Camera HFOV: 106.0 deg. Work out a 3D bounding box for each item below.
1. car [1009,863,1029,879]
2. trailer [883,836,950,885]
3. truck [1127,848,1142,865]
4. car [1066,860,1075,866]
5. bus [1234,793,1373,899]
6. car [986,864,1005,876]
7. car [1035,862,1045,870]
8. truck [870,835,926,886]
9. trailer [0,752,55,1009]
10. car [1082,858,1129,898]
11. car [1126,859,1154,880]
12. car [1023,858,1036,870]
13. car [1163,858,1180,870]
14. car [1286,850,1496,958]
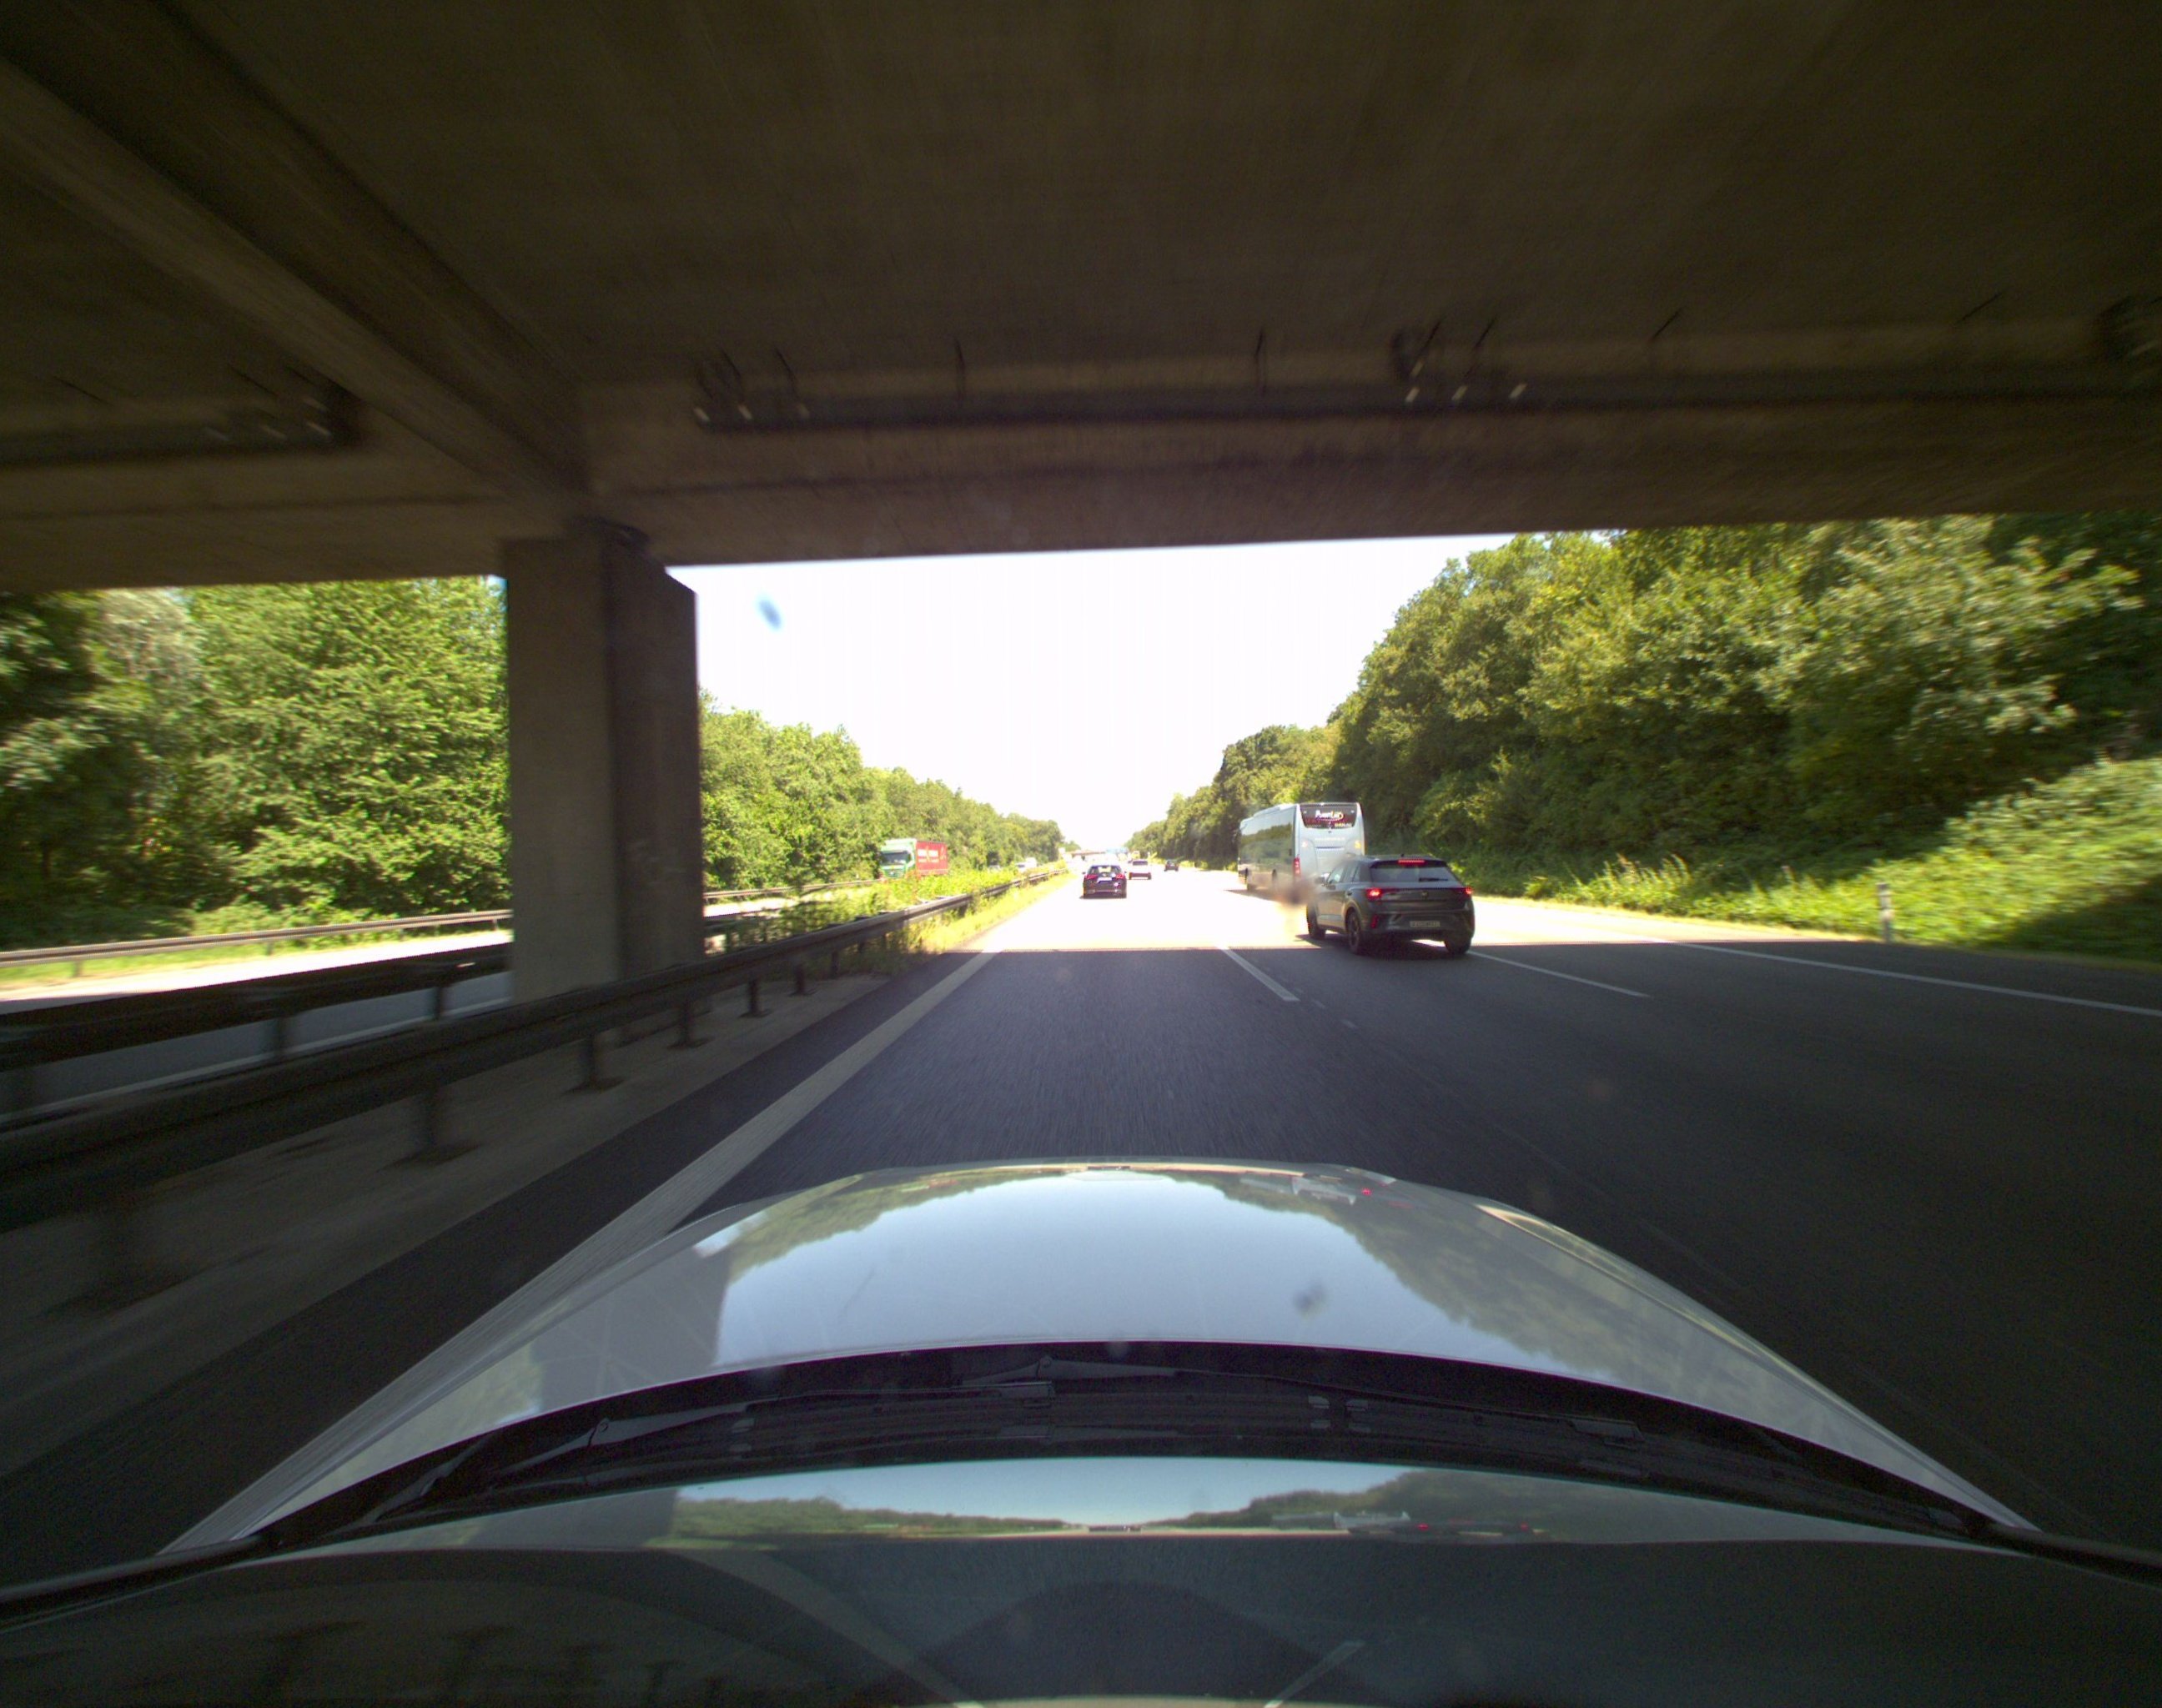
[{"bbox_3d":[-6.248,1.679,82.215,1.663,1.512,4.518,-2,0,0],"label":"car"},{"bbox_3d":[-15.168,0.604,76.264,3.205,4.059,12.745,-2,-1,1],"label":"trailer"},{"bbox_3d":[15.116,0.850,231.050,3.634,4.590,15.767,0,-1,1],"label":"truck"},{"bbox_3d":[-2.690,2.342,210.281,1.831,1.383,4.429,-3,0,2],"label":"car"},{"bbox_3d":[8.825,-0.230,34.235,2.791,3.596,12.479,-1,0,2],"label":"bus"},{"bbox_3d":[-11.542,2.106,110.136,1.842,1.450,4.872,-3,0,1],"label":"car"},{"bbox_3d":[-8.302,2.401,164.971,1.662,1.402,4.707,-2,0,1],"label":"car"},{"bbox_3d":[-15.361,0.536,68.814,3.205,4.059,5.619,-2,-1,1],"label":"truck"},{"bbox_3d":[-17.279,0.435,6.531,2.350,3.794,12.079,-3,0,2],"label":"trailer"},{"bbox_3d":[0.990,0.946,33.689,1.793,1.502,4.242,-1,0,1],"label":"car"},{"bbox_3d":[4.567,1.184,63.498,1.892,1.532,4.242,-1,0,1],"label":"car"},{"bbox_3d":[-11.430,2.141,181.015,2.079,2.552,6.230,-3,0,2],"label":"car"},{"bbox_3d":[11.345,1.213,102.411,1.782,1.461,3.952,-1,0,3],"label":"car"},{"bbox_3d":[5.094,0.732,14.186,1.892,1.532,4.760,-1,0,1],"label":"car"}]
